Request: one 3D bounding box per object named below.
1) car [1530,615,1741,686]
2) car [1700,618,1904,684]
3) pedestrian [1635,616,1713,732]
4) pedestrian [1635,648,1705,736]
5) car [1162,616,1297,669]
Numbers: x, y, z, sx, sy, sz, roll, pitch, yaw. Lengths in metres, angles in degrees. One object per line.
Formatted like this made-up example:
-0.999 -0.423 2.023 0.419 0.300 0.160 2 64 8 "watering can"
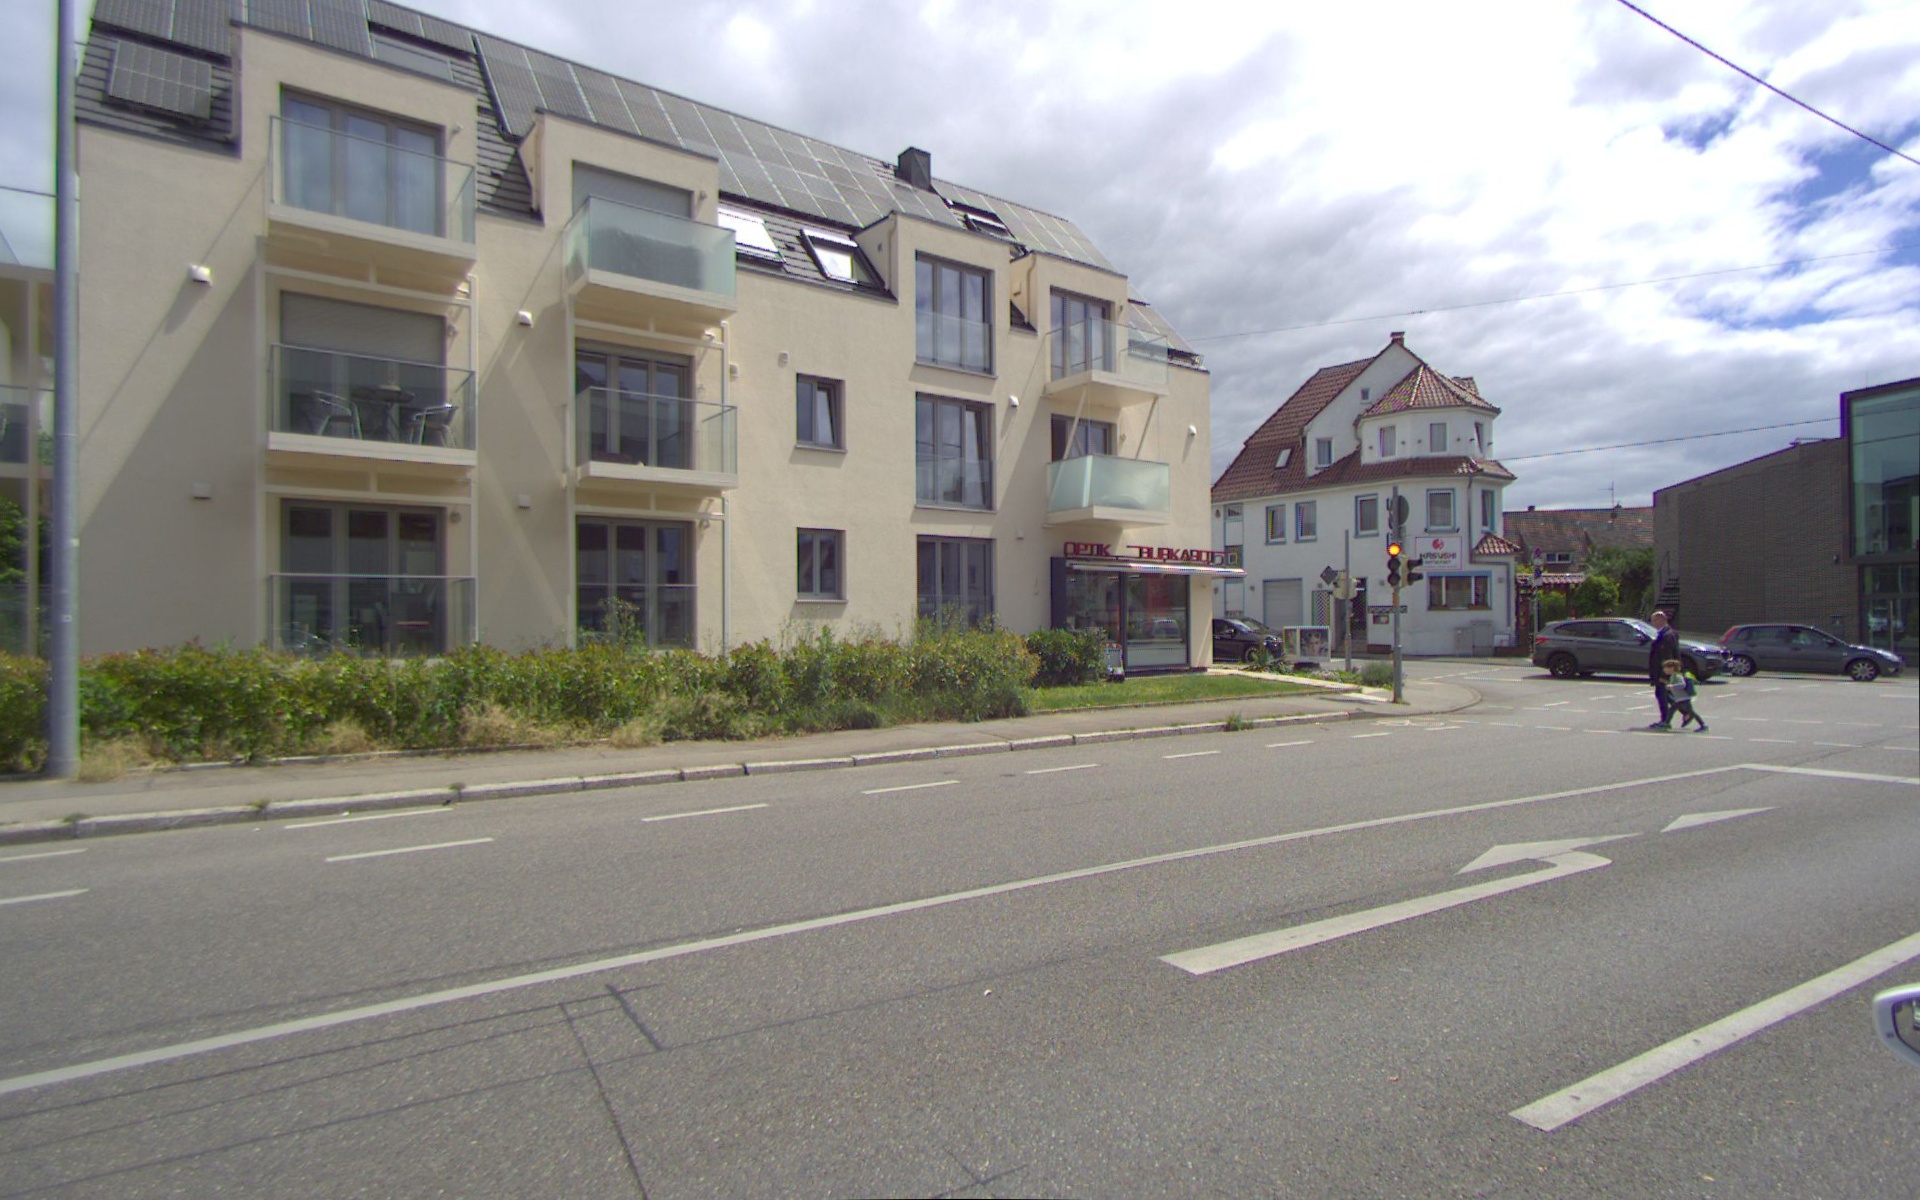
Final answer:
17.608 1.255 26.332 1.984 1.698 4.256 1 -1 -40 "car"
22.436 1.288 26.861 1.986 1.506 3.949 1 0 -43 "car"
11.143 1.120 15.678 0.811 1.744 0.815 1 -1 -40 "pedestrian"
10.661 1.361 15.088 0.640 1.238 0.727 1 -1 -40 "pedestrian"
9.753 1.491 36.665 1.982 1.766 4.465 -1 0 -38 "car"
